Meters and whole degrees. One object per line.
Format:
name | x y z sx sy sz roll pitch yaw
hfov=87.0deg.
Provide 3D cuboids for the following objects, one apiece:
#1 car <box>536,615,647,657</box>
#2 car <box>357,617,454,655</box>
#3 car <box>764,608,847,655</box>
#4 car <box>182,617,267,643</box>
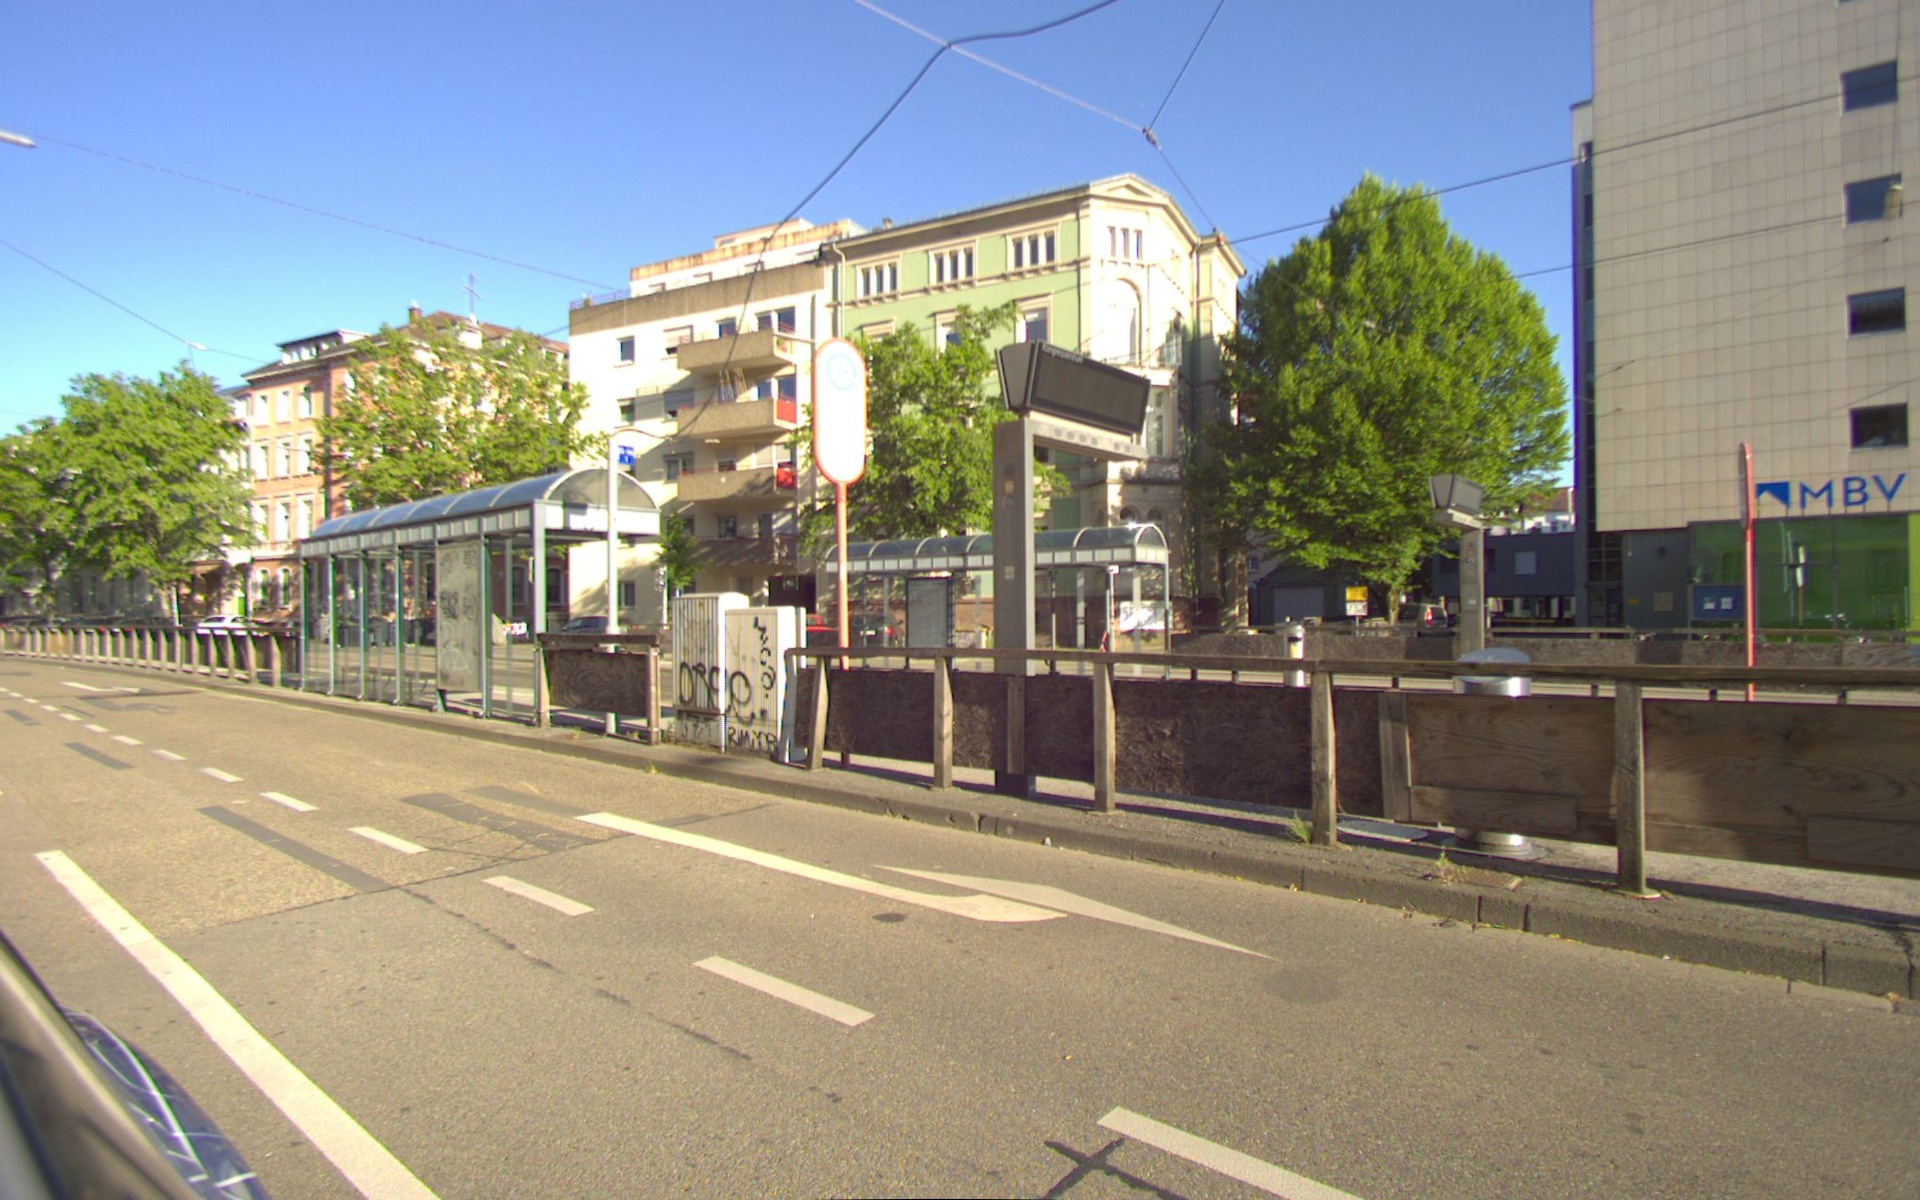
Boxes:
car | -14.102 1.379 38.675 3.987 1.542 1.978 -1 -3 32
car | -23.922 1.525 43.641 3.987 1.541 1.978 -1 -2 32
car | -6.945 1.396 45.798 1.791 2.029 3.963 -1 -1 27
car | -39.239 1.575 54.094 1.565 1.360 3.631 0 -1 11
